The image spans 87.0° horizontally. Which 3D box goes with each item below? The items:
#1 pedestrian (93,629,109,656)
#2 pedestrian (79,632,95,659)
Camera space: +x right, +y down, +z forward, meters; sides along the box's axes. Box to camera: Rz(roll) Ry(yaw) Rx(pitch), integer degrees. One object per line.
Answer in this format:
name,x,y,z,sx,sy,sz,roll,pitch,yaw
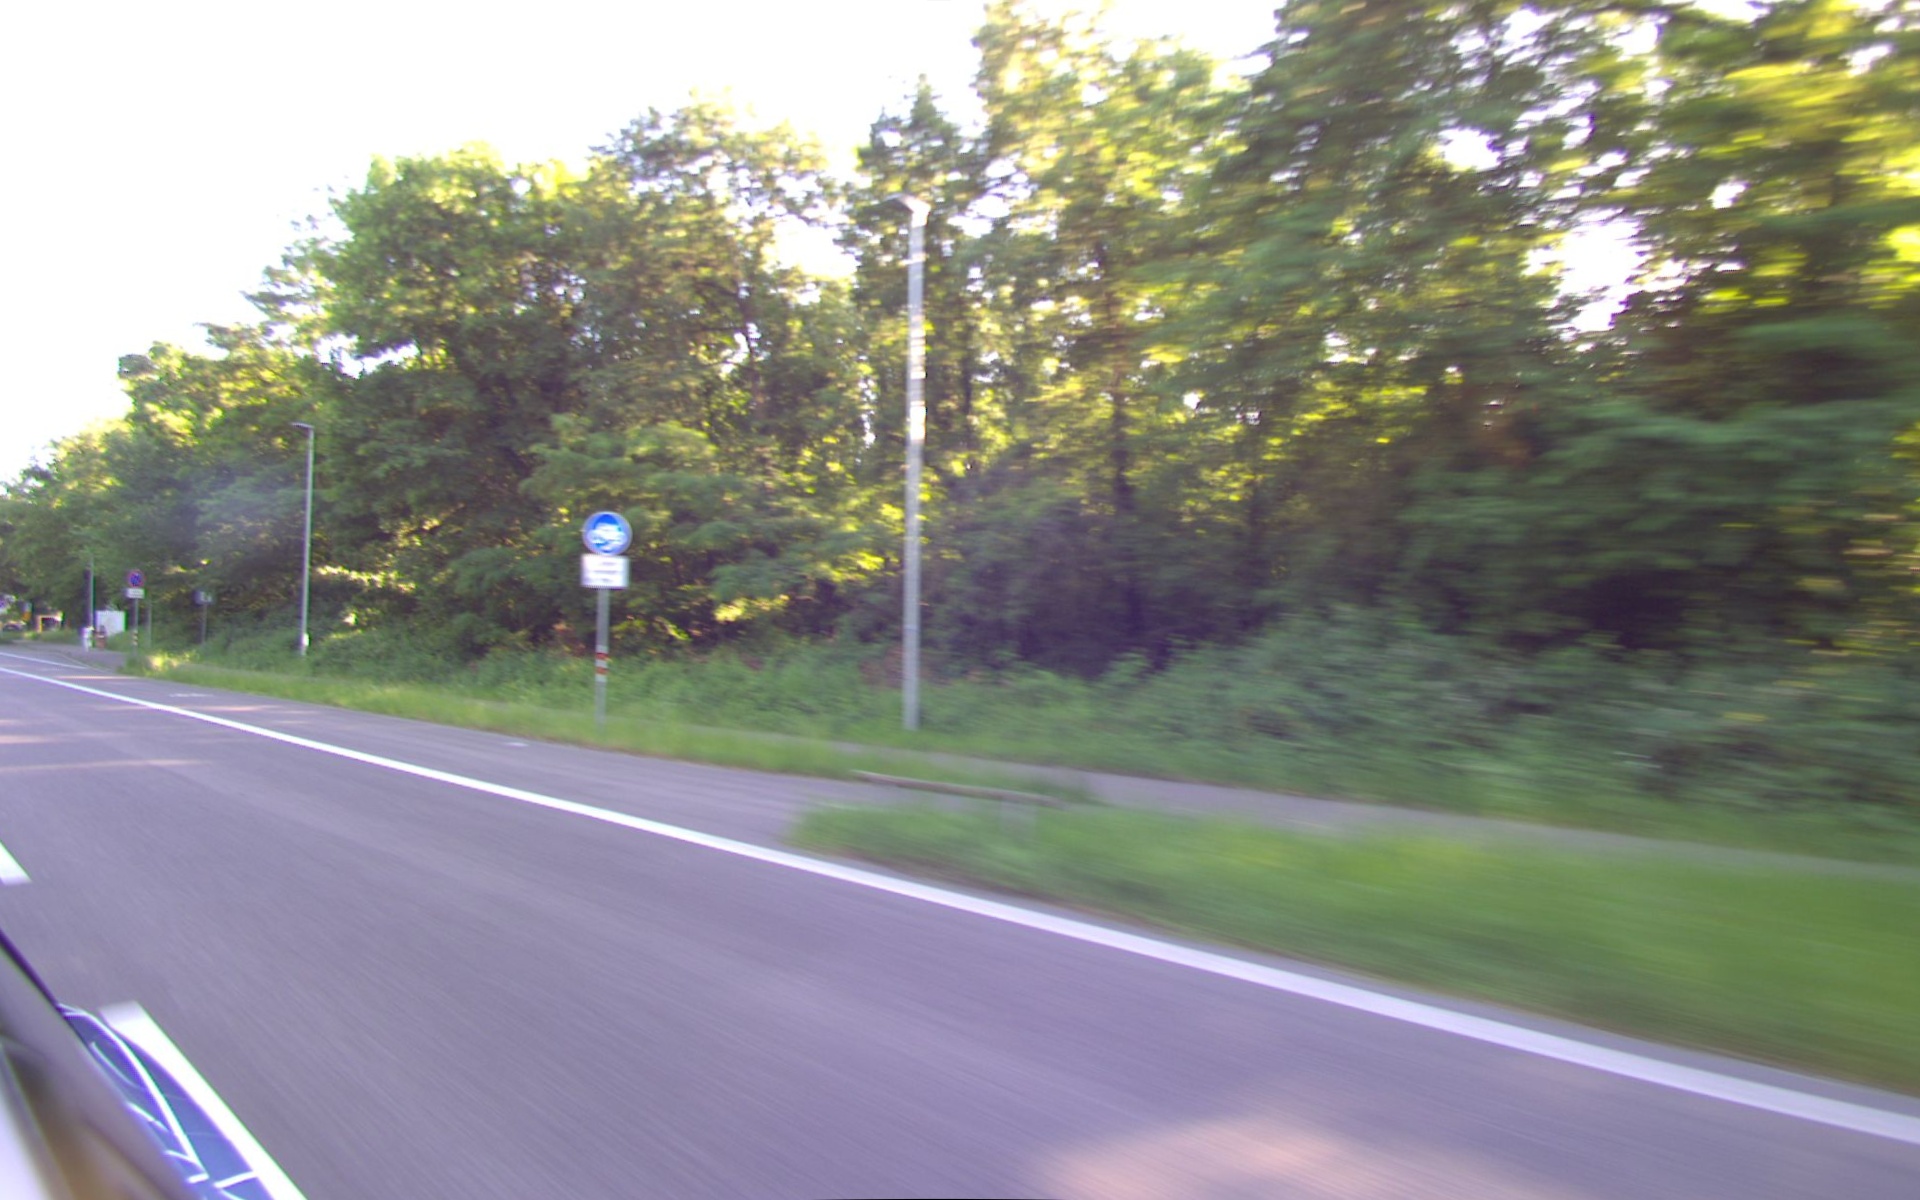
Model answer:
pedestrian,-53.558,2.637,63.120,0.667,1.666,0.790,2,-3,-45
pedestrian,-54.086,2.813,62.679,0.667,1.666,0.790,2,-3,-45
